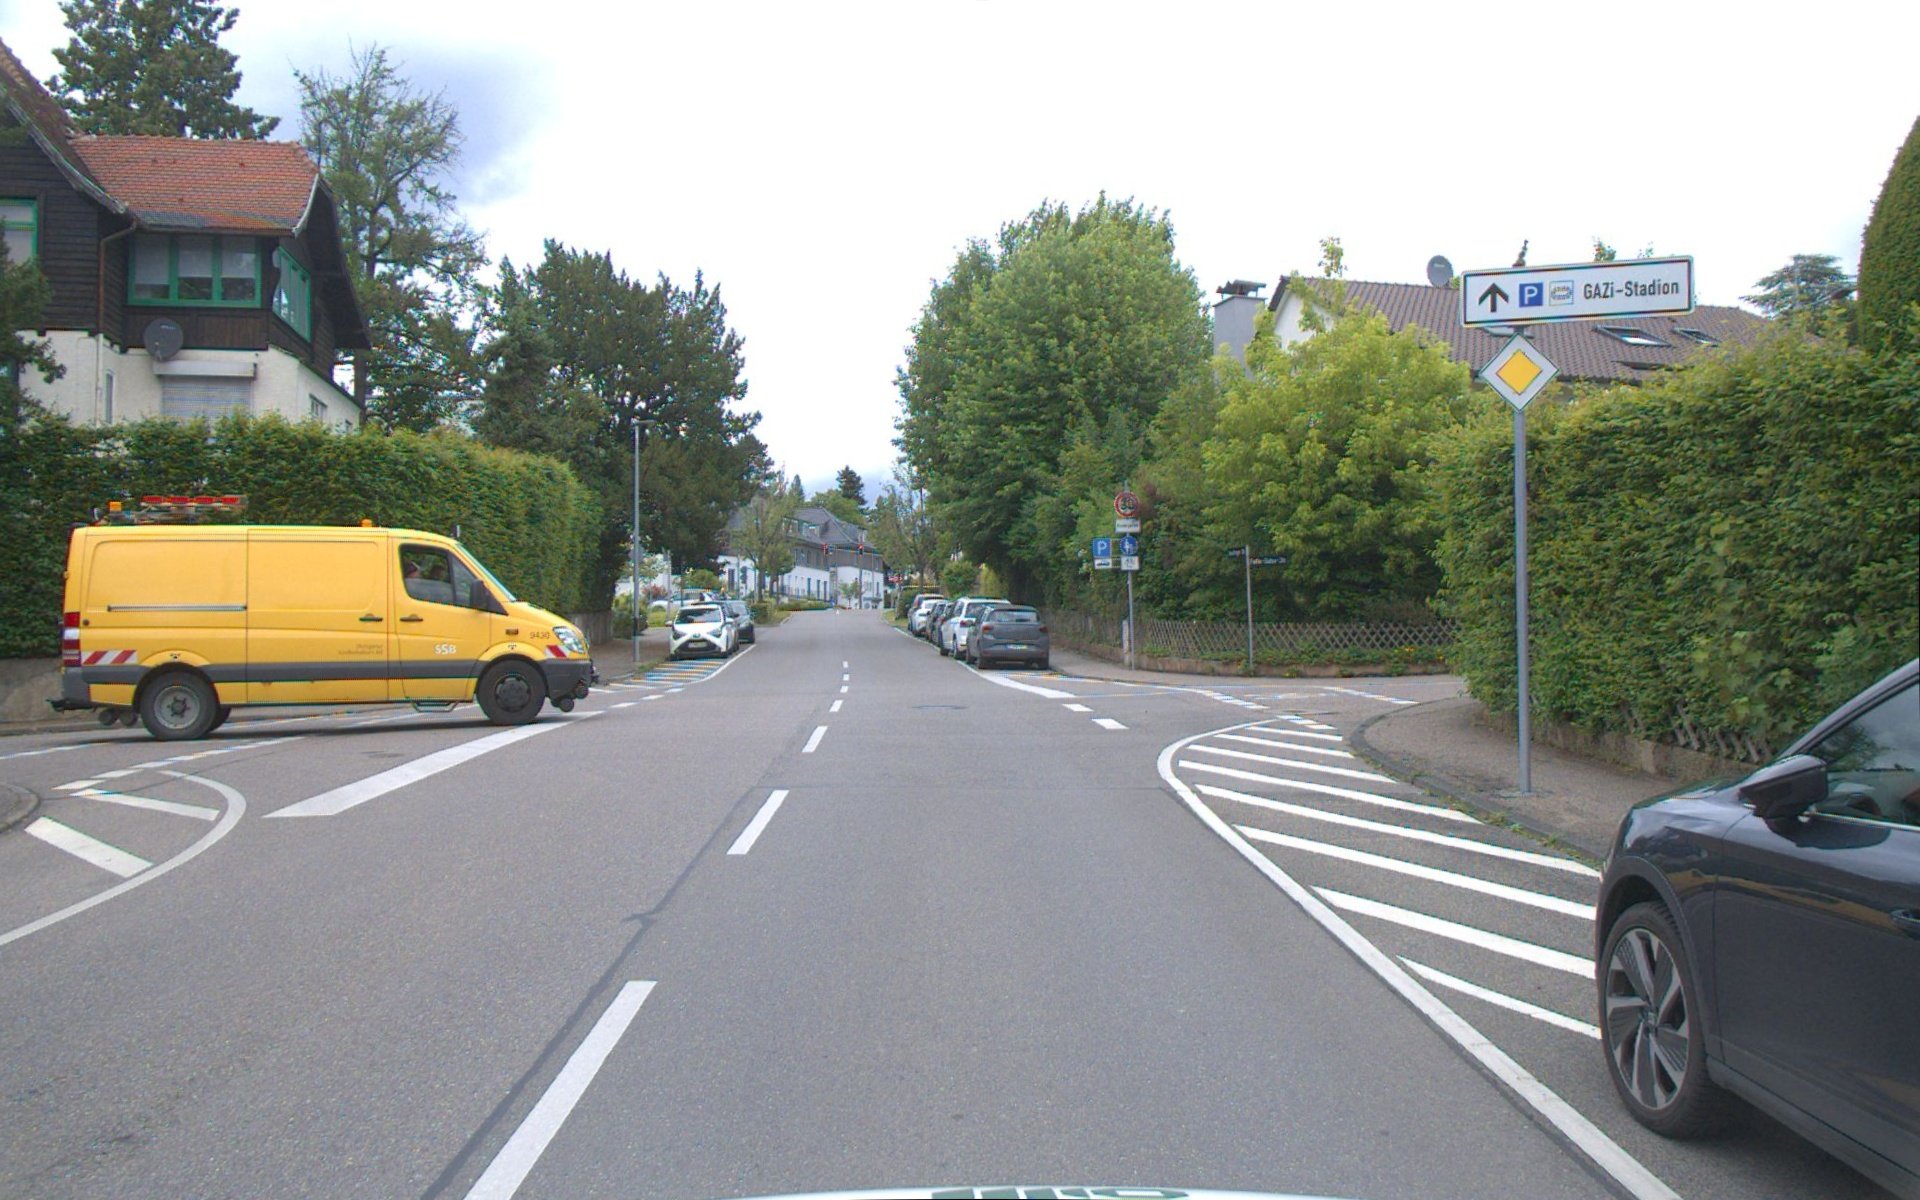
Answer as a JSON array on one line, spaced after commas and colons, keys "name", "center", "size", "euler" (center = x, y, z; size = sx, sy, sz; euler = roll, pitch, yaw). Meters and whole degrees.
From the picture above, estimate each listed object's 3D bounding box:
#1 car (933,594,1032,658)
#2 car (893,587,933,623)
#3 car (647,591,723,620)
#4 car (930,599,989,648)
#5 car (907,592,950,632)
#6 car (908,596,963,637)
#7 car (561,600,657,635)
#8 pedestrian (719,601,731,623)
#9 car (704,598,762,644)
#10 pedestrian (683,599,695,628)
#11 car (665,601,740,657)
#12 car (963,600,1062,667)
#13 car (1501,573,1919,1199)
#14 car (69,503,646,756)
[{"name": "car", "center": [0.558, 0.688, 46.219], "size": [1.964, 1.637, 4.749], "euler": [-1, 1, -9]}, {"name": "car", "center": [-2.566, 0.239, 89.107], "size": [1.898, 1.870, 5.214], "euler": [0, 0, -4]}, {"name": "car", "center": [-16.467, 0.312, 99.258], "size": [4.302, 1.594, 2.064], "euler": [-1, 0, -6]}, {"name": "car", "center": [-0.041, 0.762, 55.840], "size": [1.664, 1.534, 4.156], "euler": [1, 0, -4]}, {"name": "car", "center": [-1.403, 0.490, 72.369], "size": [1.683, 1.661, 3.925], "euler": [1, 0, -4]}, {"name": "car", "center": [-1.014, 0.619, 66.567], "size": [1.954, 1.517, 5.001], "euler": [-1, 1, -4]}, {"name": "car", "center": [-14.227, 0.693, 67.179], "size": [3.725, 1.378, 1.737], "euler": [-1, 0, -10]}, {"name": "pedestrian", "center": [-13.988, 0.701, 98.503], "size": [0.595, 1.305, 0.899], "euler": [1, 0, -5]}, {"name": "car", "center": [-7.981, 0.721, 58.389], "size": [1.815, 1.495, 4.677], "euler": [-1, 0, -6]}, {"name": "pedestrian", "center": [-15.589, 0.784, 95.167], "size": [0.581, 1.669, 0.565], "euler": [-1, 0, -4]}, {"name": "car", "center": [-7.171, 0.789, 46.276], "size": [1.710, 1.473, 3.511], "euler": [-1, 0, -3]}, {"name": "car", "center": [1.239, 0.790, 41.319], "size": [1.900, 1.517, 4.451], "euler": [-1, 1, -5]}, {"name": "car", "center": [2.822, 0.697, 3.612], "size": [1.754, 1.514, 4.378], "euler": [-1, 1, -1]}, {"name": "car", "center": [-6.964, 0.246, 19.653], "size": [6.035, 2.646, 2.353], "euler": [-1, 0, -21]}]
